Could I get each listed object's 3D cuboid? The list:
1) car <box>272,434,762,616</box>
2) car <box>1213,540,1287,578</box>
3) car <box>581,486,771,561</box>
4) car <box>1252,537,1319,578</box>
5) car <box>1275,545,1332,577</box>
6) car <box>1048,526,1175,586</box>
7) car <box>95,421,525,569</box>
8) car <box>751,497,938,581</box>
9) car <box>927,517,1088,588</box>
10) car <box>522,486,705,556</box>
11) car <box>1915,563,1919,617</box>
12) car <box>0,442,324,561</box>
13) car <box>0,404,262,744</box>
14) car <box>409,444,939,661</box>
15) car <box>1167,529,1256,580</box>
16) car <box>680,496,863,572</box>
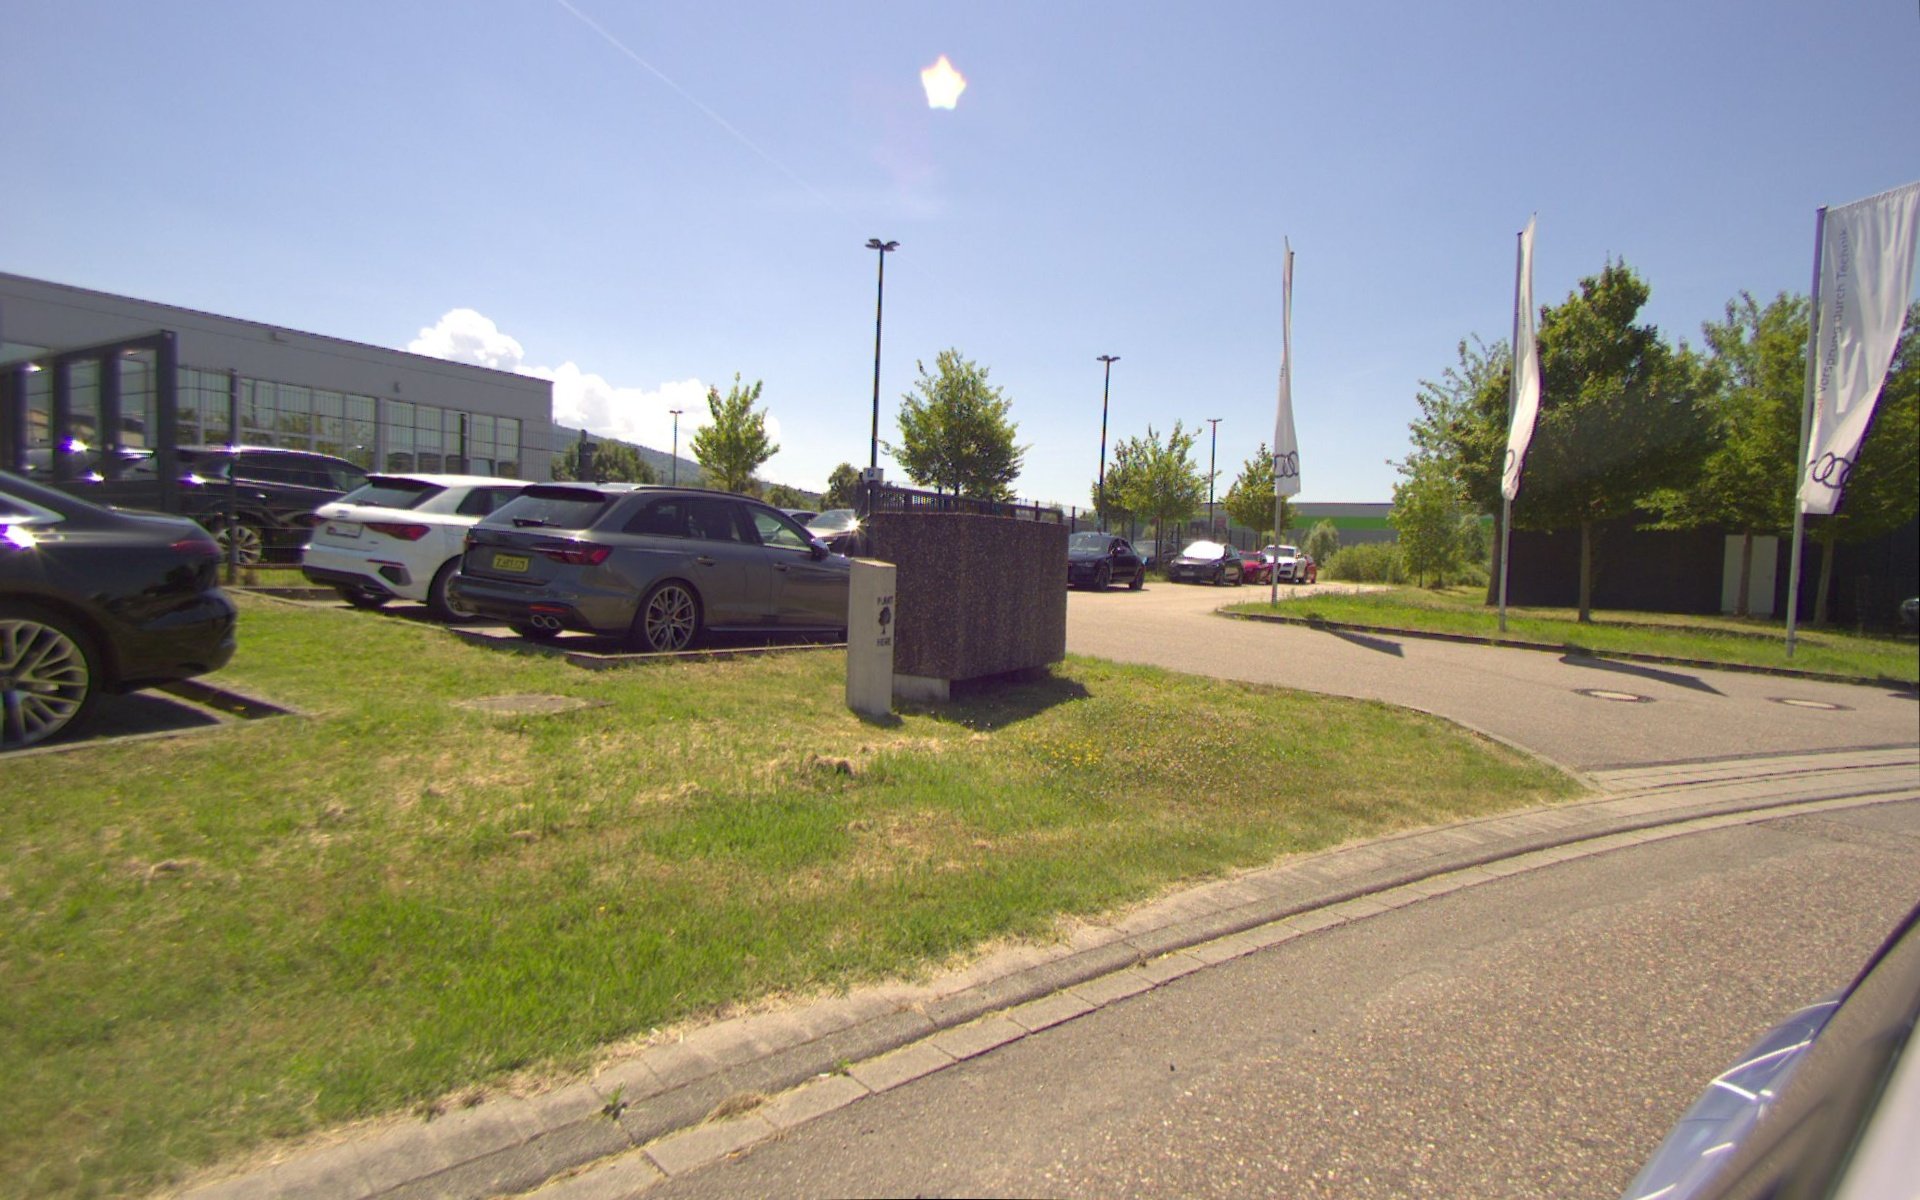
[{"bbox_3d":[-4.499,-0.775,11.208,1.810,1.547,4.896,5,4,28],"label":"car"},{"bbox_3d":[11.668,-1.641,40.591,1.767,1.373,4.127,5,4,31],"label":"car"},{"bbox_3d":[-7.038,-1.869,25.586,1.951,1.649,4.581,5,4,28],"label":"car"},{"bbox_3d":[14.593,-1.921,45.232,1.812,1.666,4.348,5,4,31],"label":"car"},{"bbox_3d":[17.389,-1.976,51.130,1.812,1.458,4.067,5,4,31],"label":"car"},{"bbox_3d":[4.213,-1.205,27.535,1.767,1.418,4.523,5,4,31],"label":"car"},{"bbox_3d":[-8.553,-1.310,13.814,1.951,1.649,4.581,5,4,28],"label":"car"},{"bbox_3d":[-2.511,-1.362,23.206,1.951,1.649,4.581,5,4,28],"label":"car"},{"bbox_3d":[1.154,-1.042,22.388,1.767,1.365,4.100,5,4,31],"label":"car"},{"bbox_3d":[-9.298,-2.088,27.521,1.951,1.649,4.581,5,4,28],"label":"car"},{"bbox_3d":[26.431,-0.188,24.681,4.138,1.585,1.762,5,4,30],"label":"car"},{"bbox_3d":[-13.188,-1.527,16.559,1.951,1.649,4.335,5,4,28],"label":"car"},{"bbox_3d":[-5.646,-0.149,3.545,1.869,1.472,4.974,5,4,28],"label":"car"},{"bbox_3d":[-2.271,-0.479,9.557,1.951,1.485,4.897,5,4,28],"label":"car"},{"bbox_3d":[8.880,-1.594,35.511,1.767,1.585,4.358,5,4,31],"label":"car"},{"bbox_3d":[-4.512,-1.580,24.931,1.951,1.649,4.581,5,4,28],"label":"car"}]
